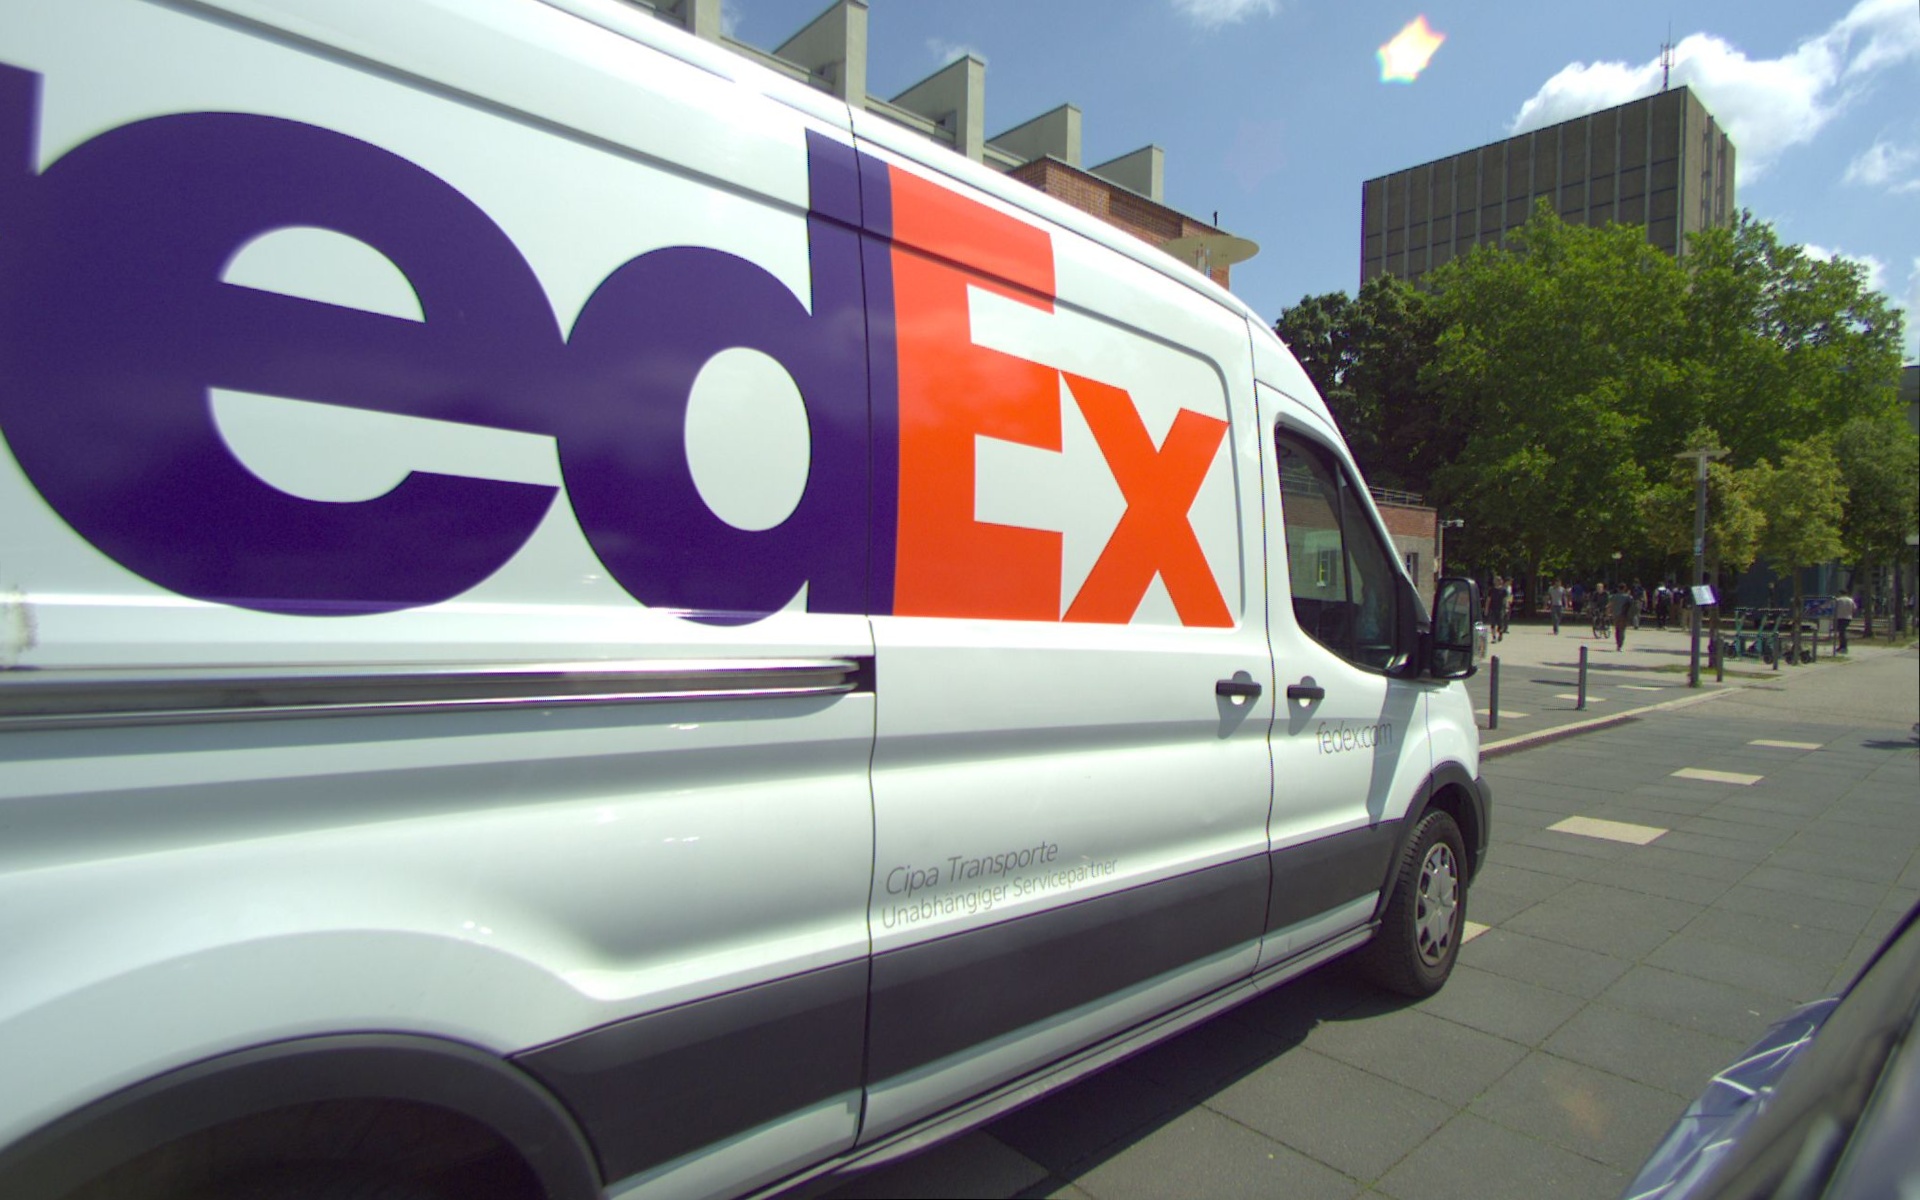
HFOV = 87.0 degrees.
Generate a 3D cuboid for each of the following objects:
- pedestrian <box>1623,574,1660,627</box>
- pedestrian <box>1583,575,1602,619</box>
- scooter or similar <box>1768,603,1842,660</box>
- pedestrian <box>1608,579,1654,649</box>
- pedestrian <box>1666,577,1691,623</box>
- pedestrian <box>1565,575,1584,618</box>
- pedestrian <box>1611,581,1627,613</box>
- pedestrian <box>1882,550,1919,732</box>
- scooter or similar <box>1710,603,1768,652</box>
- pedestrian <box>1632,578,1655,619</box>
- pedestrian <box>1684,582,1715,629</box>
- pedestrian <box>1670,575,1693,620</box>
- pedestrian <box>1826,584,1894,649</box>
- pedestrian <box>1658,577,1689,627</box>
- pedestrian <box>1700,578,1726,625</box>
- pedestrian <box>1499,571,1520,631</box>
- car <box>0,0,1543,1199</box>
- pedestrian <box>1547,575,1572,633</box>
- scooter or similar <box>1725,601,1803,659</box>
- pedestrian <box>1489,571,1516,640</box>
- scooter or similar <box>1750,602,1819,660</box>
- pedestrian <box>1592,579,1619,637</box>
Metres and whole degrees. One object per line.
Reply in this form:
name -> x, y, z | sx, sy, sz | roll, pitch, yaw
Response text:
pedestrian -> 25.754, 0.015, 38.259 | 0.973, 1.970, 0.969 | 2, 1, 27
pedestrian -> 26.565, -0.112, 42.497 | 0.535, 1.816, 0.640 | 2, 1, 22
scooter or similar -> 19.808, 0.719, 23.748 | 0.564, 1.248, 1.266 | 2, 1, -7
pedestrian -> 17.029, 0.339, 25.680 | 0.782, 1.696, 1.063 | 2, 2, 42
pedestrian -> 28.033, 0.004, 39.477 | 0.595, 1.774, 0.759 | 2, 1, 22
pedestrian -> 25.962, -0.150, 42.732 | 0.560, 1.816, 0.639 | 2, 1, 25
pedestrian -> 32.764, -0.146, 50.317 | 0.635, 1.577, 0.568 | 2, 1, 33
pedestrian -> 10.380, 0.445, 10.317 | 0.897, 1.871, 1.027 | 2, 2, -11
scooter or similar -> 19.451, 0.685, 25.262 | 1.447, 1.194, 0.577 | 1, 1, -28
pedestrian -> 28.955, -0.073, 42.874 | 0.632, 1.729, 0.710 | 2, 1, 21
pedestrian -> 27.359, 0.178, 37.472 | 0.744, 1.694, 0.838 | 2, 1, 26
pedestrian -> 31.288, -0.111, 43.896 | 0.630, 1.893, 0.535 | 2, 1, 16
pedestrian -> 25.666, 0.449, 28.892 | 0.967, 1.809, 1.092 | 2, 1, 10
pedestrian -> 26.577, 0.072, 37.722 | 0.773, 1.813, 0.709 | 2, 1, 25
pedestrian -> 29.012, 0.056, 38.981 | 0.616, 1.761, 0.768 | 2, 1, 26
pedestrian -> 17.961, 0.041, 33.093 | 0.560, 1.954, 0.881 | 0, -2, 27
car -> -0.405, 0.146, 2.949 | 5.752, 2.575, 2.061 | 0, 1, -43
pedestrian -> 20.117, 0.146, 33.955 | 0.663, 1.911, 0.963 | 0, -2, 29
scooter or similar -> 18.377, 0.676, 23.163 | 0.564, 1.245, 1.358 | 2, 1, -7
pedestrian -> 14.391, 0.134, 26.849 | 0.581, 1.799, 0.791 | 2, 2, 29
scooter or similar -> 19.117, 0.702, 23.491 | 0.564, 1.259, 1.145 | 2, 1, -7
pedestrian -> 20.435, 0.244, 32.030 | 0.665, 1.788, 0.787 | 1, -1, 37
